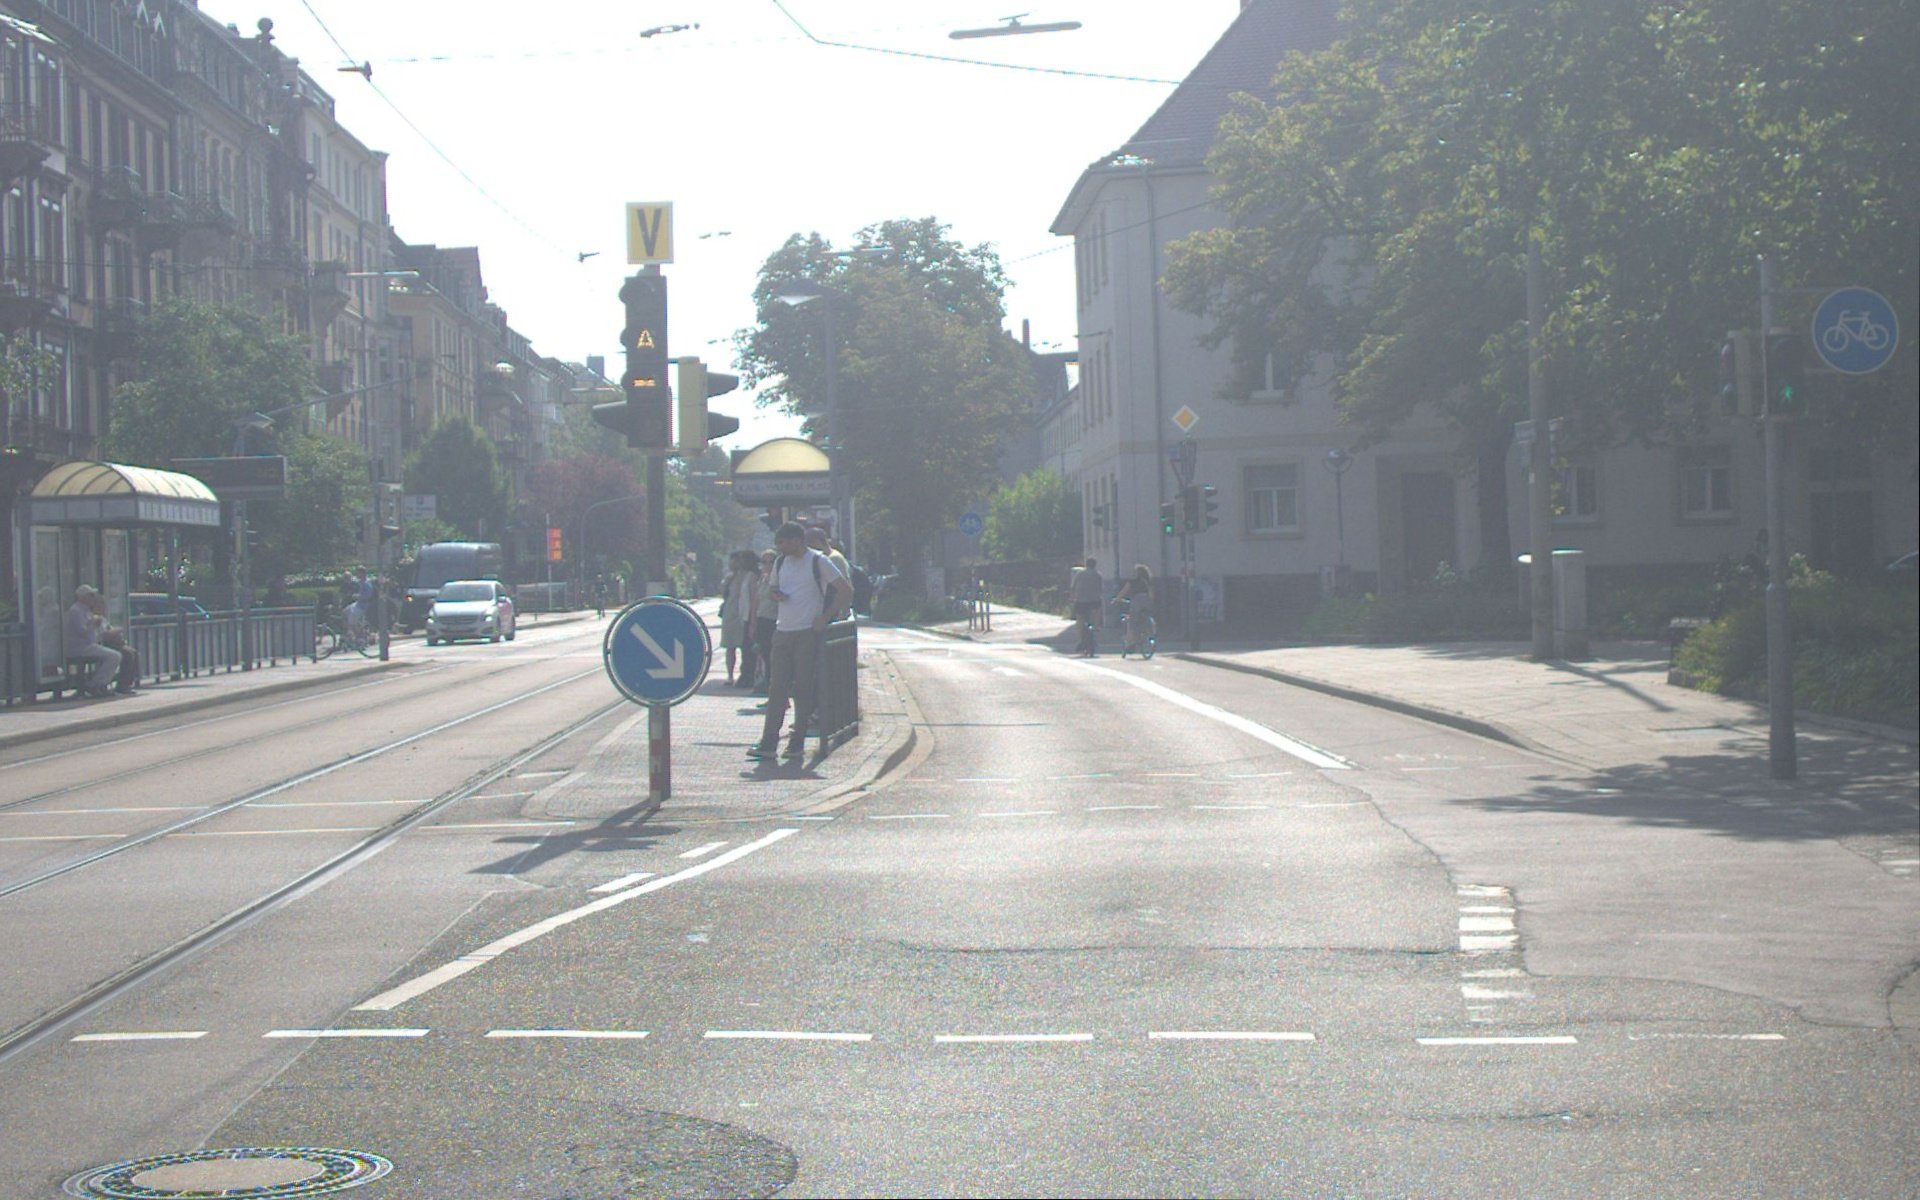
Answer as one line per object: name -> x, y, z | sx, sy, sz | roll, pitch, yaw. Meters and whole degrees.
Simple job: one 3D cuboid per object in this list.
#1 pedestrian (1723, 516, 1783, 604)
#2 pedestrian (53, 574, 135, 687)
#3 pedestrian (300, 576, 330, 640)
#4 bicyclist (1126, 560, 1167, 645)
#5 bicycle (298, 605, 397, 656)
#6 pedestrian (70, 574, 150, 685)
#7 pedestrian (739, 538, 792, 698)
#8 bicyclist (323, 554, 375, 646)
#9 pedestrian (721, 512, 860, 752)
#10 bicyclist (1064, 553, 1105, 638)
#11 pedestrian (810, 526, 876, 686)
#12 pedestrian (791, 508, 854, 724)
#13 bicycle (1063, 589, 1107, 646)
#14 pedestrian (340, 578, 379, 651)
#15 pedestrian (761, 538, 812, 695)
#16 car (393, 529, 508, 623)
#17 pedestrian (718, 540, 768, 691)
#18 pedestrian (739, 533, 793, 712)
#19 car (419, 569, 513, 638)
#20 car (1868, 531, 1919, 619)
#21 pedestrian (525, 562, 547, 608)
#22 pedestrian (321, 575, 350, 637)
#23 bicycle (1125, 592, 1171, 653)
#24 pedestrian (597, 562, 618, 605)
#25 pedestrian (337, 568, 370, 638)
pedestrian -> 15.987, -0.803, 69.299 | 0.893, 1.734, 0.774 | -1, 1, 36
pedestrian -> -10.579, 0.364, 42.028 | 0.827, 1.354, 0.776 | -2, 0, -6
pedestrian -> -17.636, 0.204, 94.053 | 0.750, 1.725, 0.772 | -2, 0, -10
bicyclist -> 3.137, 0.039, 57.894 | 0.558, 1.412, 0.872 | -2, 1, -3
bicycle -> -12.473, 0.617, 70.033 | 1.935, 0.974, 0.496 | -2, 0, -10
pedestrian -> -10.625, 0.357, 43.005 | 0.827, 1.354, 0.776 | -2, 0, -6
pedestrian -> -2.171, 0.198, 38.462 | 0.543, 1.753, 0.534 | 1, 3, -1
bicyclist -> -12.450, -0.004, 70.033 | 0.986, 1.851, 0.493 | -2, 0, -10
pedestrian -> -1.256, 0.223, 25.491 | 0.701, 1.719, 0.747 | 3, 3, 32
bicyclist -> 2.235, -0.088, 61.774 | 0.629, 1.502, 0.678 | -2, 1, -3
pedestrian -> -1.312, 0.062, 38.657 | 0.709, 1.753, 0.534 | 1, 3, -1
pedestrian -> -1.185, 0.133, 29.758 | 0.504, 1.827, 0.534 | 1, 3, -1
bicycle -> 2.240, 0.307, 61.780 | 0.629, 0.974, 1.770 | -2, 1, -3
pedestrian -> -14.419, 0.346, 82.522 | 0.750, 1.725, 0.771 | -2, 0, 1
pedestrian -> -1.978, 0.183, 39.272 | 0.543, 1.753, 0.534 | 1, 3, -1
car -> -14.976, -0.712, 101.399 | 2.347, 2.653, 5.104 | -2, 1, 3
pedestrian -> -2.570, 0.176, 40.685 | 0.532, 1.753, 0.545 | 1, 3, 0
pedestrian -> -1.942, 0.223, 34.455 | 0.504, 1.753, 0.534 | 1, 3, -1
car -> -12.359, 0.062, 86.226 | 1.801, 1.648, 3.642 | -2, 1, 0
car -> 16.556, -0.433, 56.104 | 1.752, 1.424, 4.147 | -2, 1, -10
pedestrian -> -16.178, -0.570, 131.113 | 0.750, 1.725, 0.772 | -2, 0, -10
pedestrian -> -17.611, 0.162, 97.009 | 0.750, 1.725, 0.772 | -2, 0, -10
bicycle -> 3.153, 0.375, 57.884 | 0.558, 0.974, 1.856 | -2, 1, -3
pedestrian -> -14.332, -0.665, 139.647 | 0.750, 1.725, 0.772 | -2, 0, -10
pedestrian -> -15.035, 0.069, 85.230 | 0.750, 1.725, 0.772 | -2, 0, -10
